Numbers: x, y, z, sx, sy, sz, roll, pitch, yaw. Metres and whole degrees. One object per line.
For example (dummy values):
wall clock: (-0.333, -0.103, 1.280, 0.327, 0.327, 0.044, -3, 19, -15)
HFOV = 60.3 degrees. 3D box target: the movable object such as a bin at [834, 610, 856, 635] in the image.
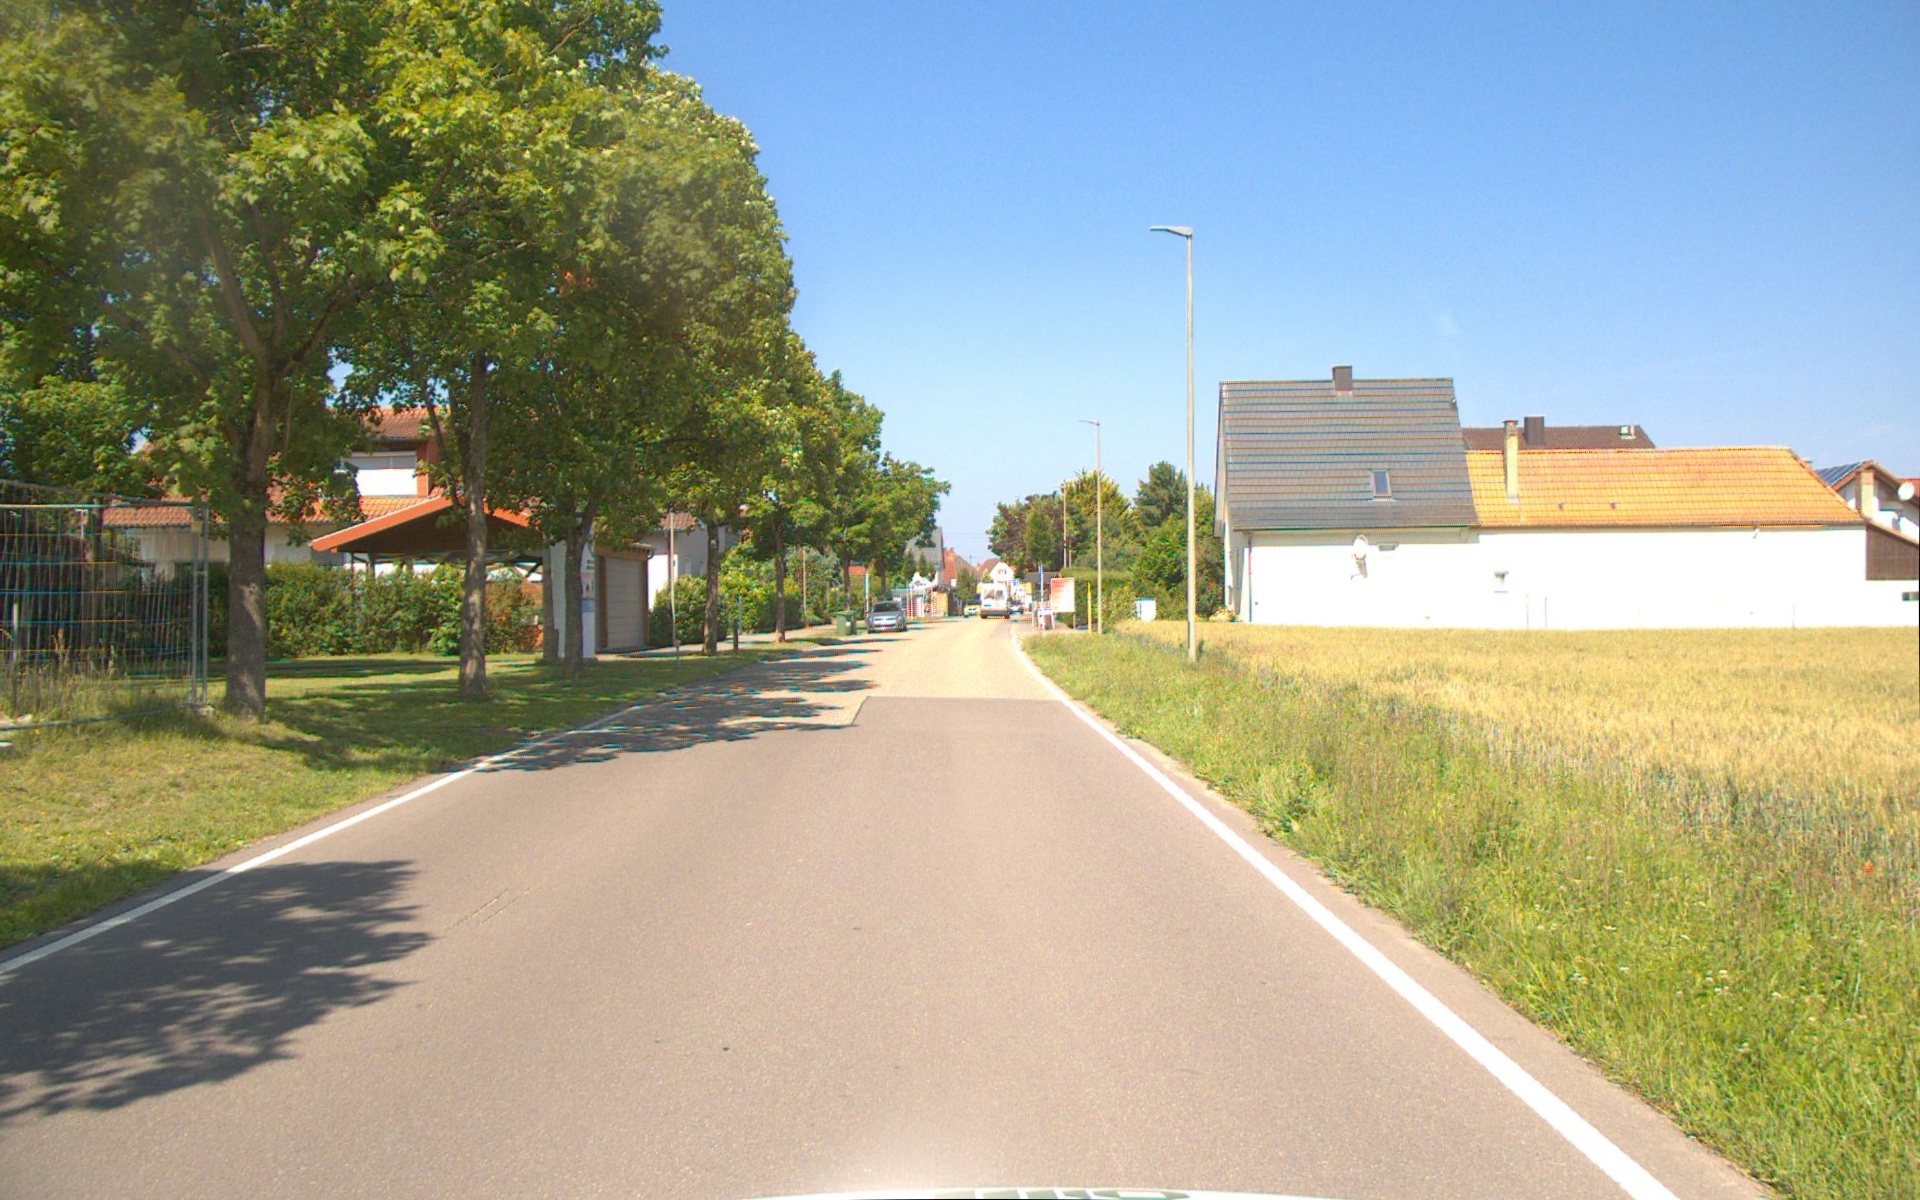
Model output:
movable object such as a bin: (-5.038, 0.994, 72.443, 0.699, 1.097, 0.639, -1, -1, 27)

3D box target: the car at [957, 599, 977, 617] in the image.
car: (0.590, 0.741, 149.056, 1.632, 1.550, 3.441, -2, 0, -2)

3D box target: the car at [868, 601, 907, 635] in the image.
car: (-3.407, 0.839, 77.819, 1.613, 1.448, 4.080, -3, 0, -1)

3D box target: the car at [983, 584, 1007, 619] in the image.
car: (2.609, 0.091, 122.373, 1.702, 2.474, 4.375, -1, 0, 1)

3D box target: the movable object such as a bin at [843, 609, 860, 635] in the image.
movable object such as a bin: (-4.782, 0.966, 73.081, 0.562, 1.097, 0.599, -1, 0, 14)

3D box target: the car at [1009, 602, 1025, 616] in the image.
car: (7.312, 1.153, 212.763, 1.798, 1.783, 3.795, -1, 0, 0)
